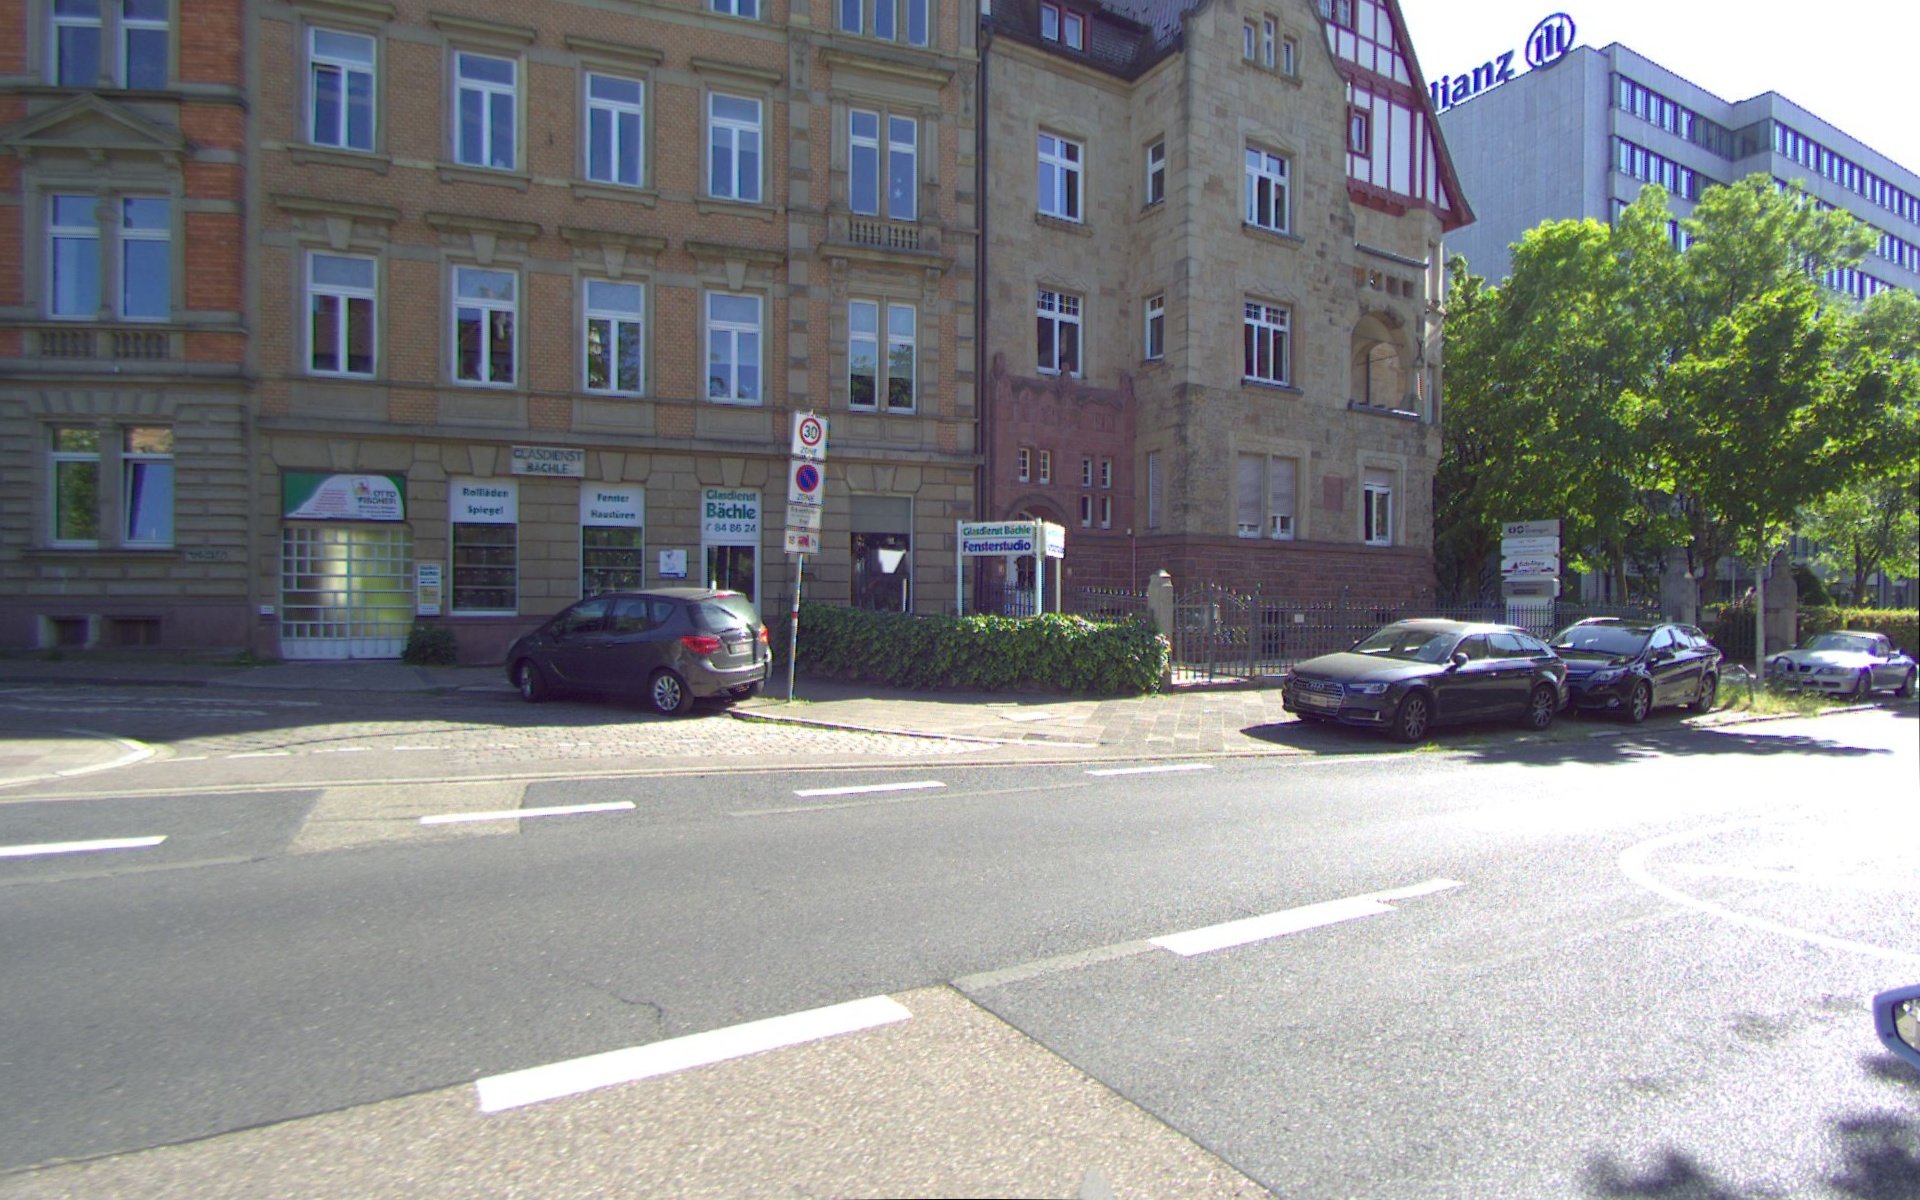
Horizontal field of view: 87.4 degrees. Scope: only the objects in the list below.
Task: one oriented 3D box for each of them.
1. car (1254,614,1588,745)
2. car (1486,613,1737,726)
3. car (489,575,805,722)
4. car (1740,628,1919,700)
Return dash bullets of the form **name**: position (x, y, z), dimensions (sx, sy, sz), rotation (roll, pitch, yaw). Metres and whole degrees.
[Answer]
- **car**: position (6.510, 0.996, 14.062), dimensions (4.664, 1.447, 1.847), rotation (1, 3, -30)
- **car**: position (10.782, 1.029, 16.523), dimensions (4.659, 1.514, 1.843), rotation (1, 3, -36)
- **car**: position (-4.480, 0.559, 14.345), dimensions (4.067, 1.693, 1.997), rotation (3, 3, 27)
- **car**: position (17.860, 1.252, 20.532), dimensions (3.967, 1.272, 1.670), rotation (1, 0, -30)
